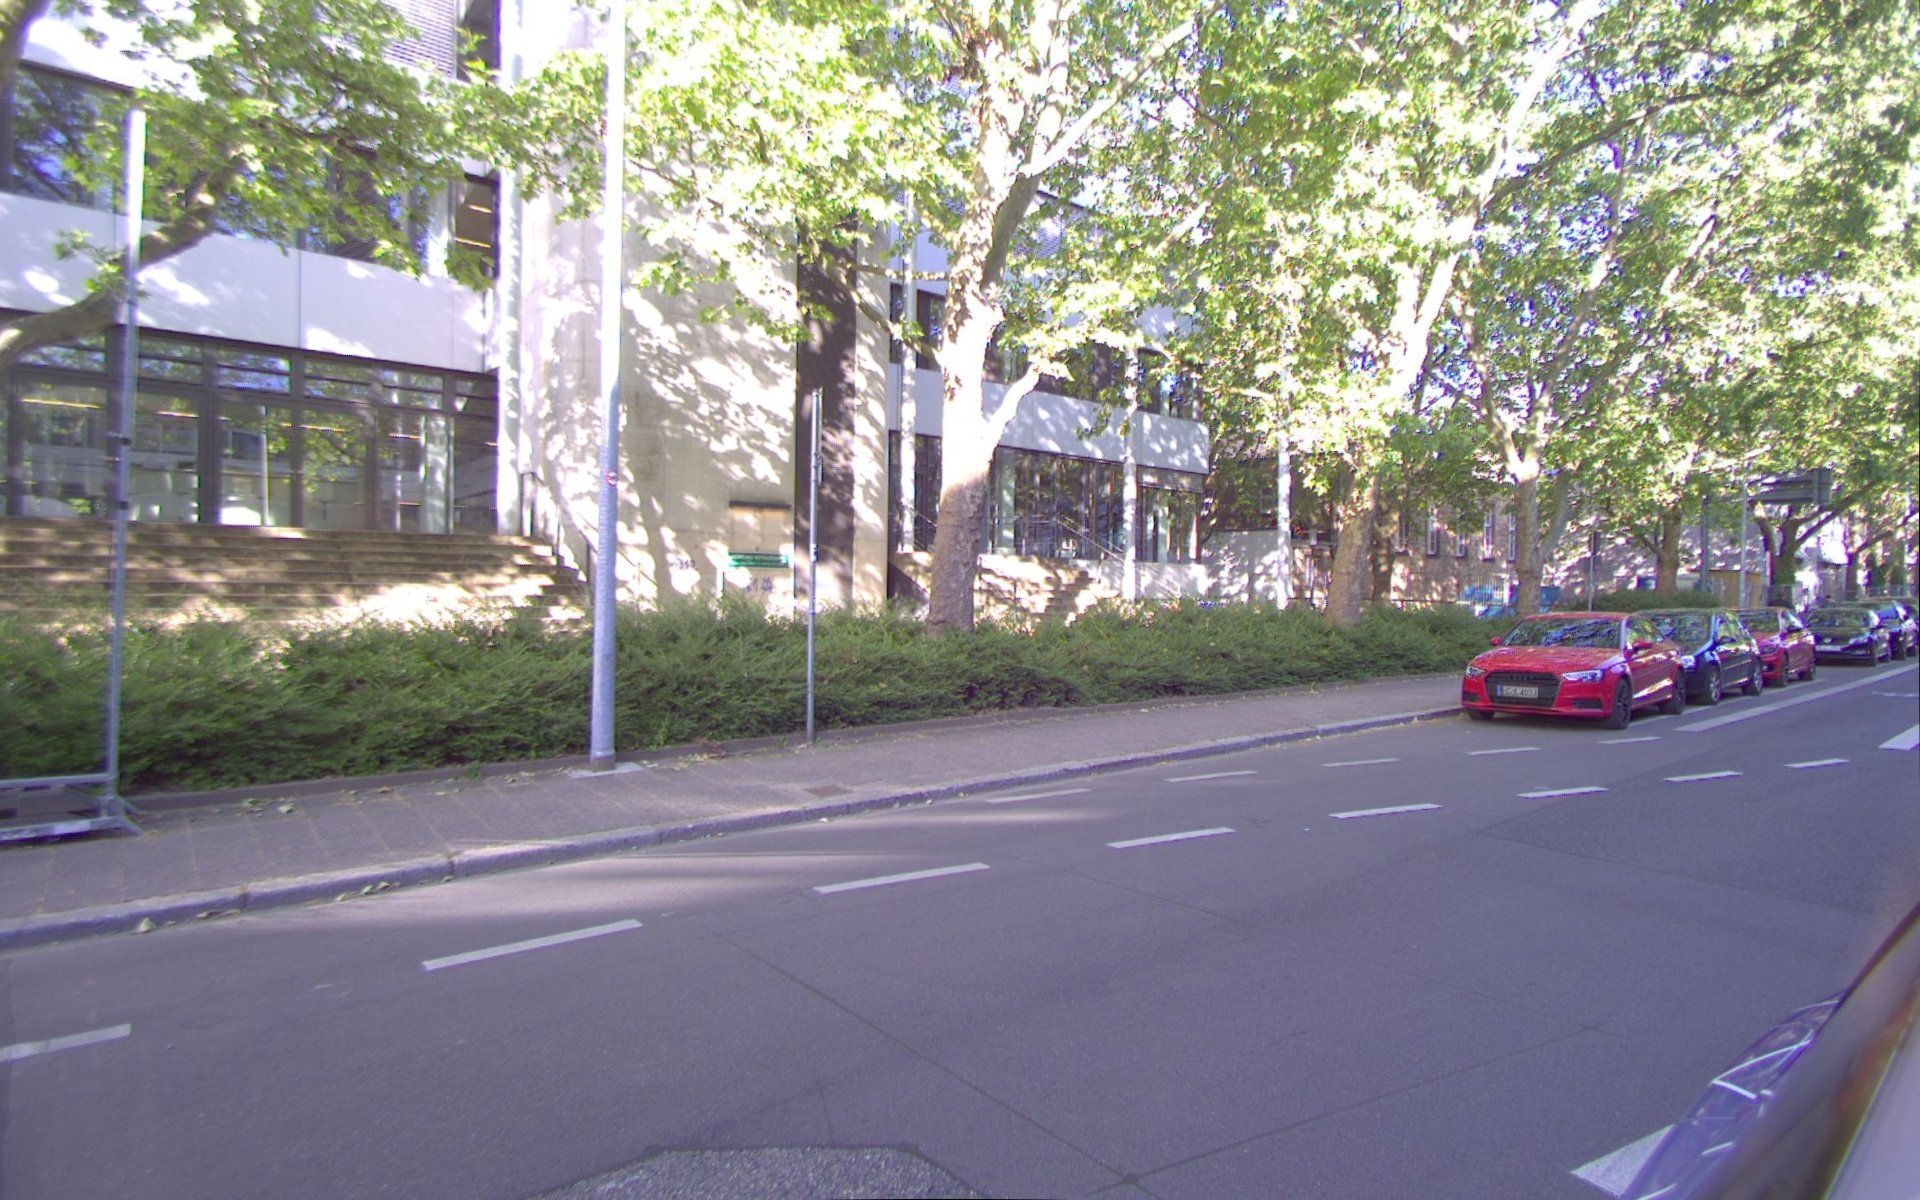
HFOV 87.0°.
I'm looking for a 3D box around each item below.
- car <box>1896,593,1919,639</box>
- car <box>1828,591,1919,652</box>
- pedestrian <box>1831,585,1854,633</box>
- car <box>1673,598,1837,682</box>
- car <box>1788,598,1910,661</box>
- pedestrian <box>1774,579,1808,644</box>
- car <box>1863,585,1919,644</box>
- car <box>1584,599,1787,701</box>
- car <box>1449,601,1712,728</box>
[{"bbox_3d":[35.908,0.582,37.102,4.183,1.634,1.834,0,0,-40],"label":"car"},{"bbox_3d":[26.560,0.574,29.086,4.088,1.626,1.834,0,0,-40],"label":"car"},{"bbox_3d":[33.708,0.330,38.648,0.583,1.818,0.600,0,0,-41],"label":"pedestrian"},{"bbox_3d":[15.840,0.710,20.099,4.095,1.486,1.834,0,0,-41],"label":"car"},{"bbox_3d":[22.872,0.704,25.991,4.095,1.486,1.834,0,0,-41],"label":"car"},{"bbox_3d":[24.354,0.328,29.655,0.629,1.884,0.660,0,0,-41],"label":"pedestrian"},{"bbox_3d":[31.045,0.440,32.976,4.384,1.820,1.834,0,0,-40],"label":"car"},{"bbox_3d":[12.025,0.720,16.684,4.095,1.464,1.834,0,0,-41],"label":"car"},{"bbox_3d":[8.406,0.738,13.567,4.173,1.422,1.834,0,0,-41],"label":"car"}]
